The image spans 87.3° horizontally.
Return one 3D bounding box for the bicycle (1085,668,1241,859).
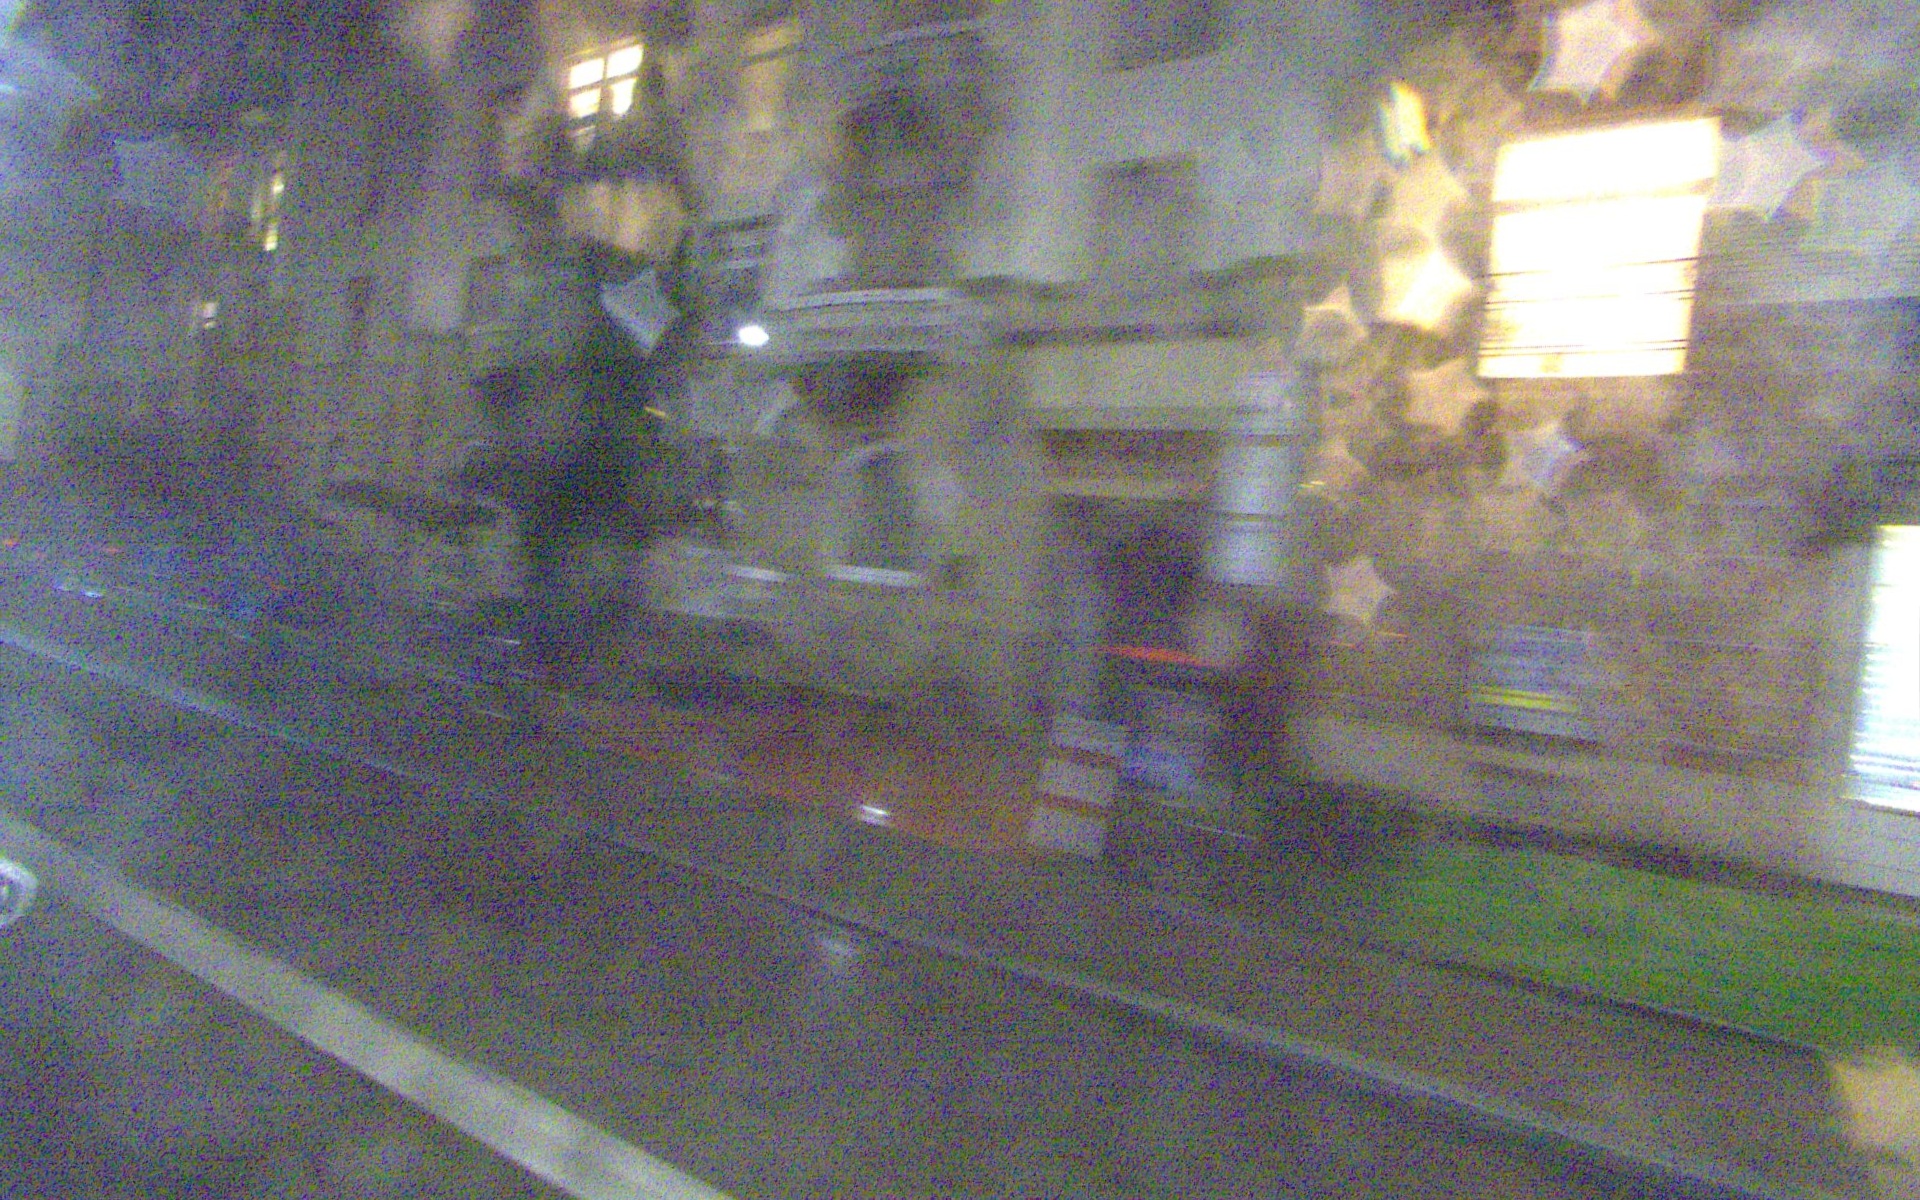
[{"bbox_3d":[1.561,1.132,7.488,0.484,1.179,1.815,6,1,30],"label":"bicycle"}]
